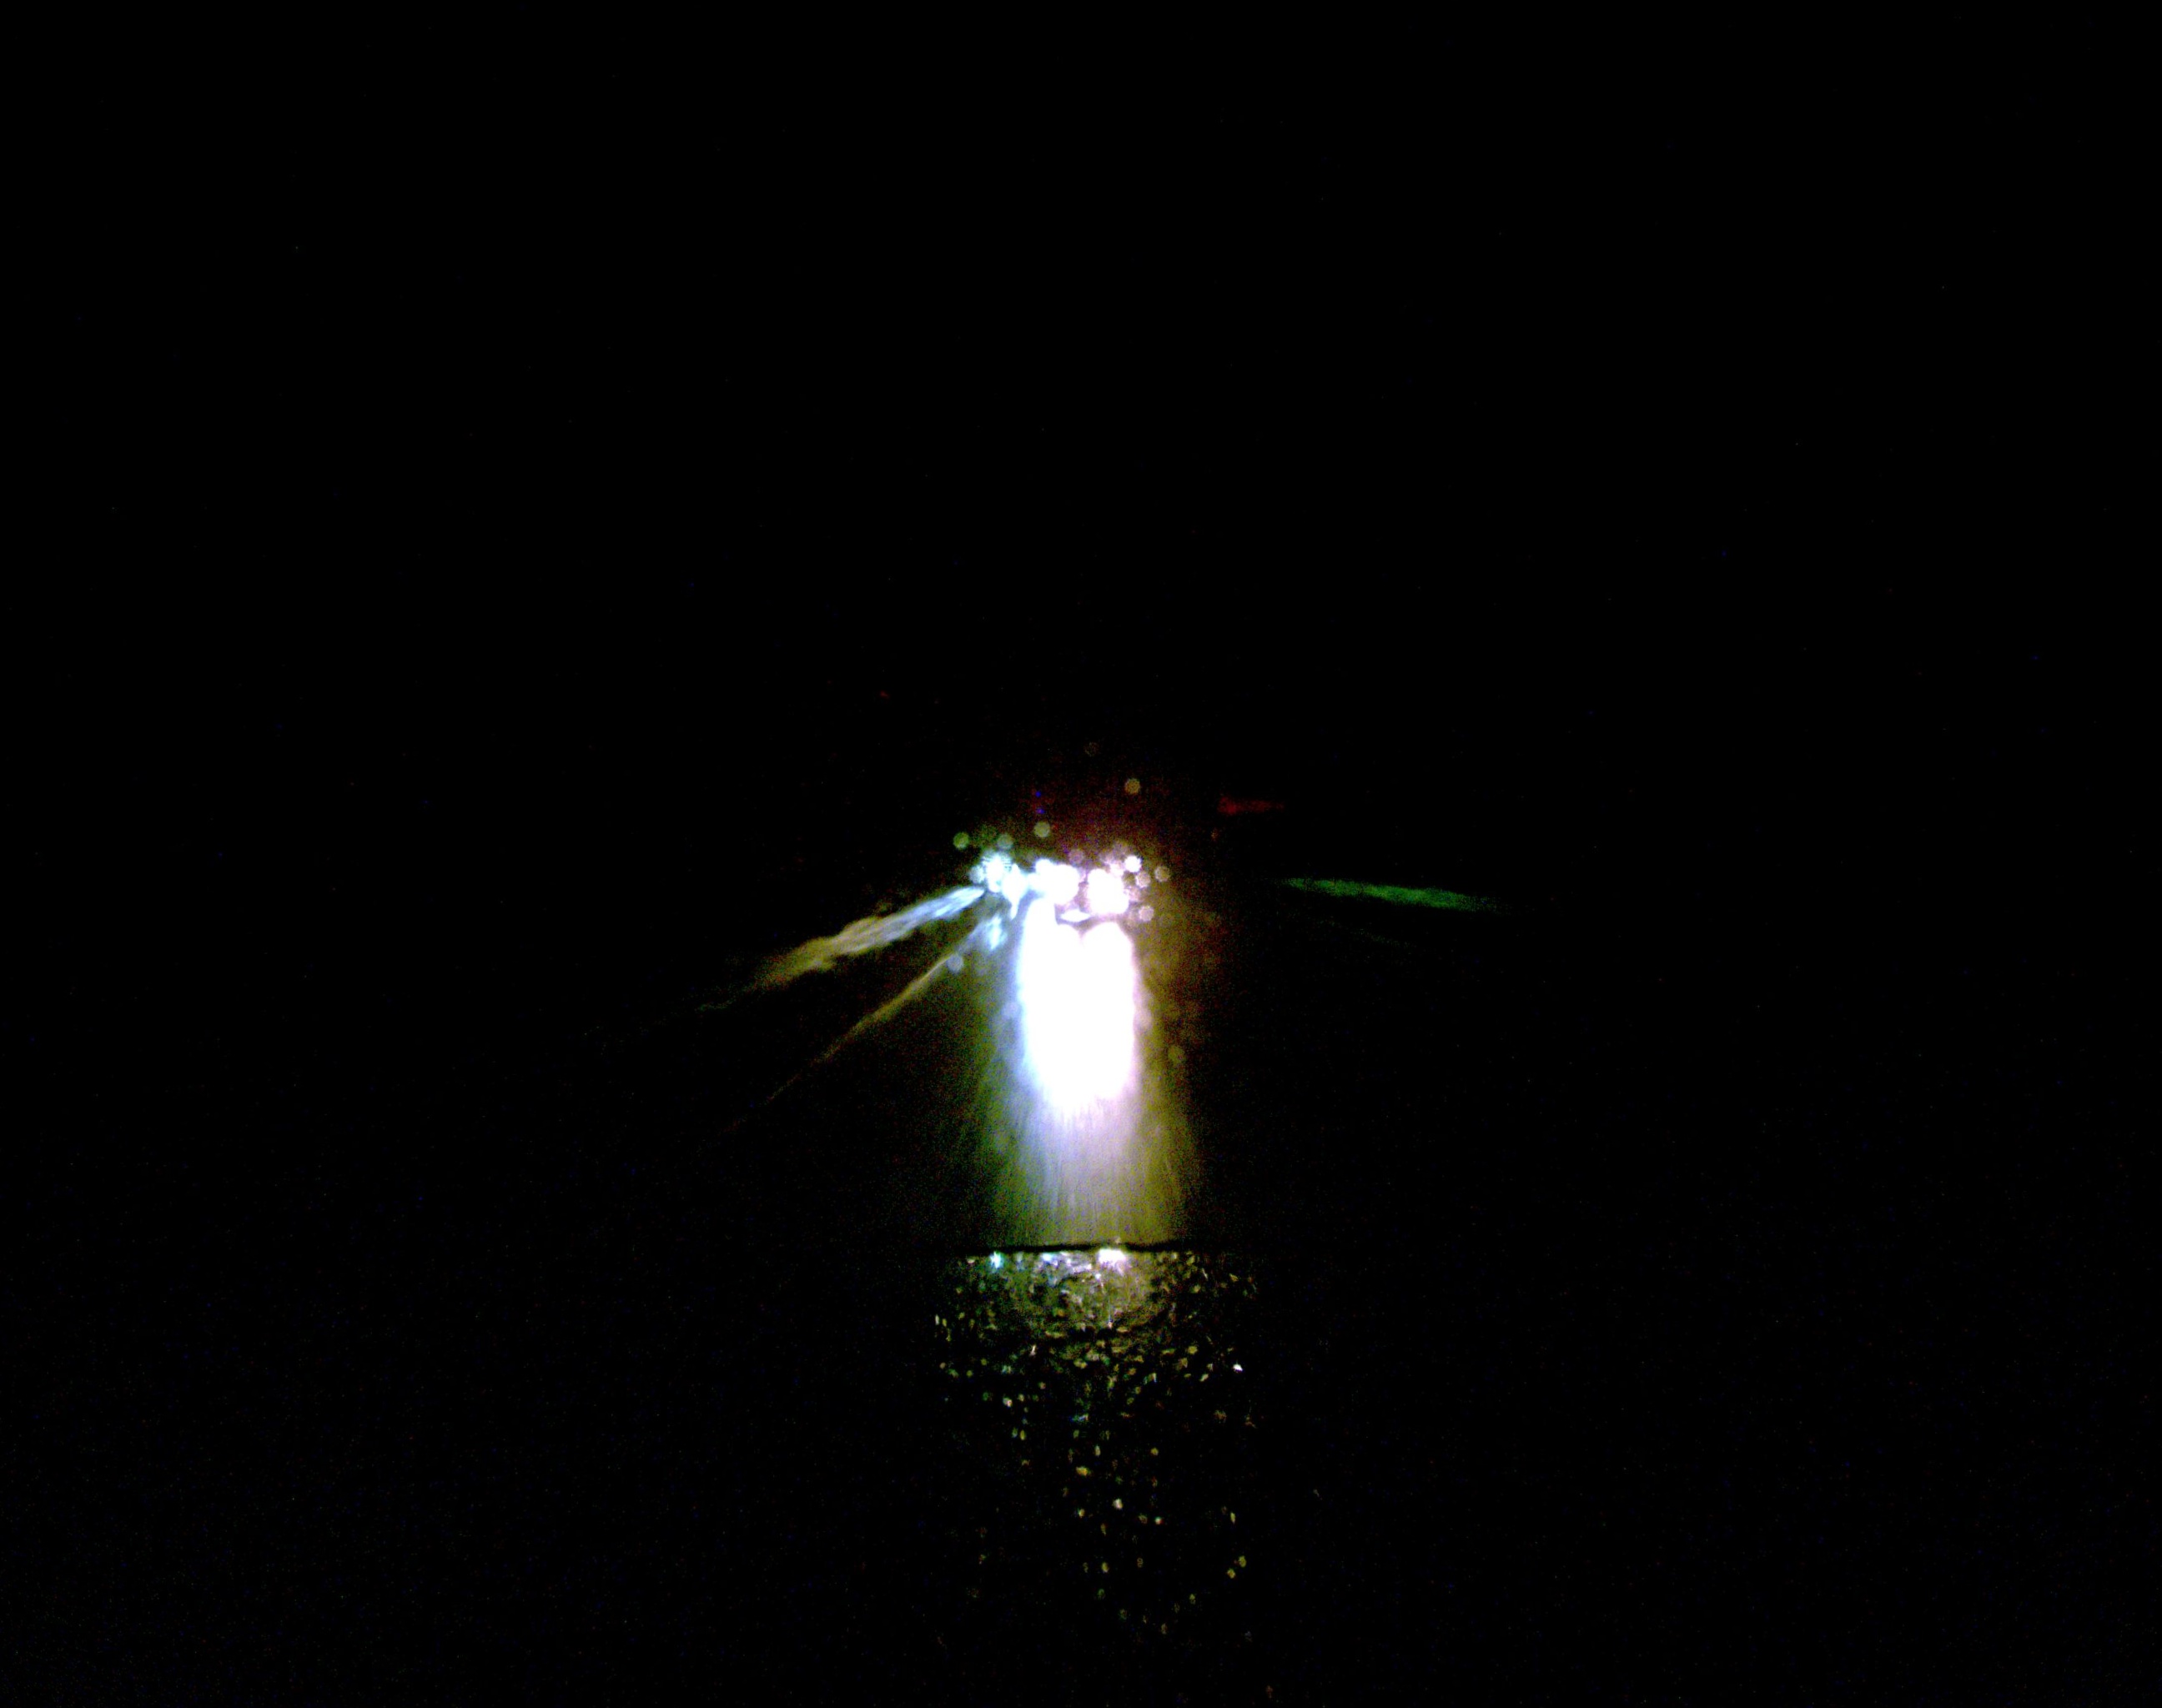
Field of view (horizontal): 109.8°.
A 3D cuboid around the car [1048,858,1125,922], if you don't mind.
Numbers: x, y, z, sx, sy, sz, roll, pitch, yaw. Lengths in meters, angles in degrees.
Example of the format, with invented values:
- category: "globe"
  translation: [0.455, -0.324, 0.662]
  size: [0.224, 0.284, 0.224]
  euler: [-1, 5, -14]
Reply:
- category: "car"
  translation: [0.242, 0.935, 21.329]
  size: [1.848, 1.441, 4.000]
  euler: [-3, 1, 4]

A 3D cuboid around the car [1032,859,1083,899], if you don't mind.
- category: "car"
  translation: [-1.079, 1.006, 32.539]
  size: [1.850, 1.441, 3.872]
  euler: [-3, 1, -6]

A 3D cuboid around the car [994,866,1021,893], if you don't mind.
- category: "car"
  translation: [-5.391, 1.826, 55.938]
  size: [1.784, 1.696, 3.998]
  euler: [-3, 1, -4]
